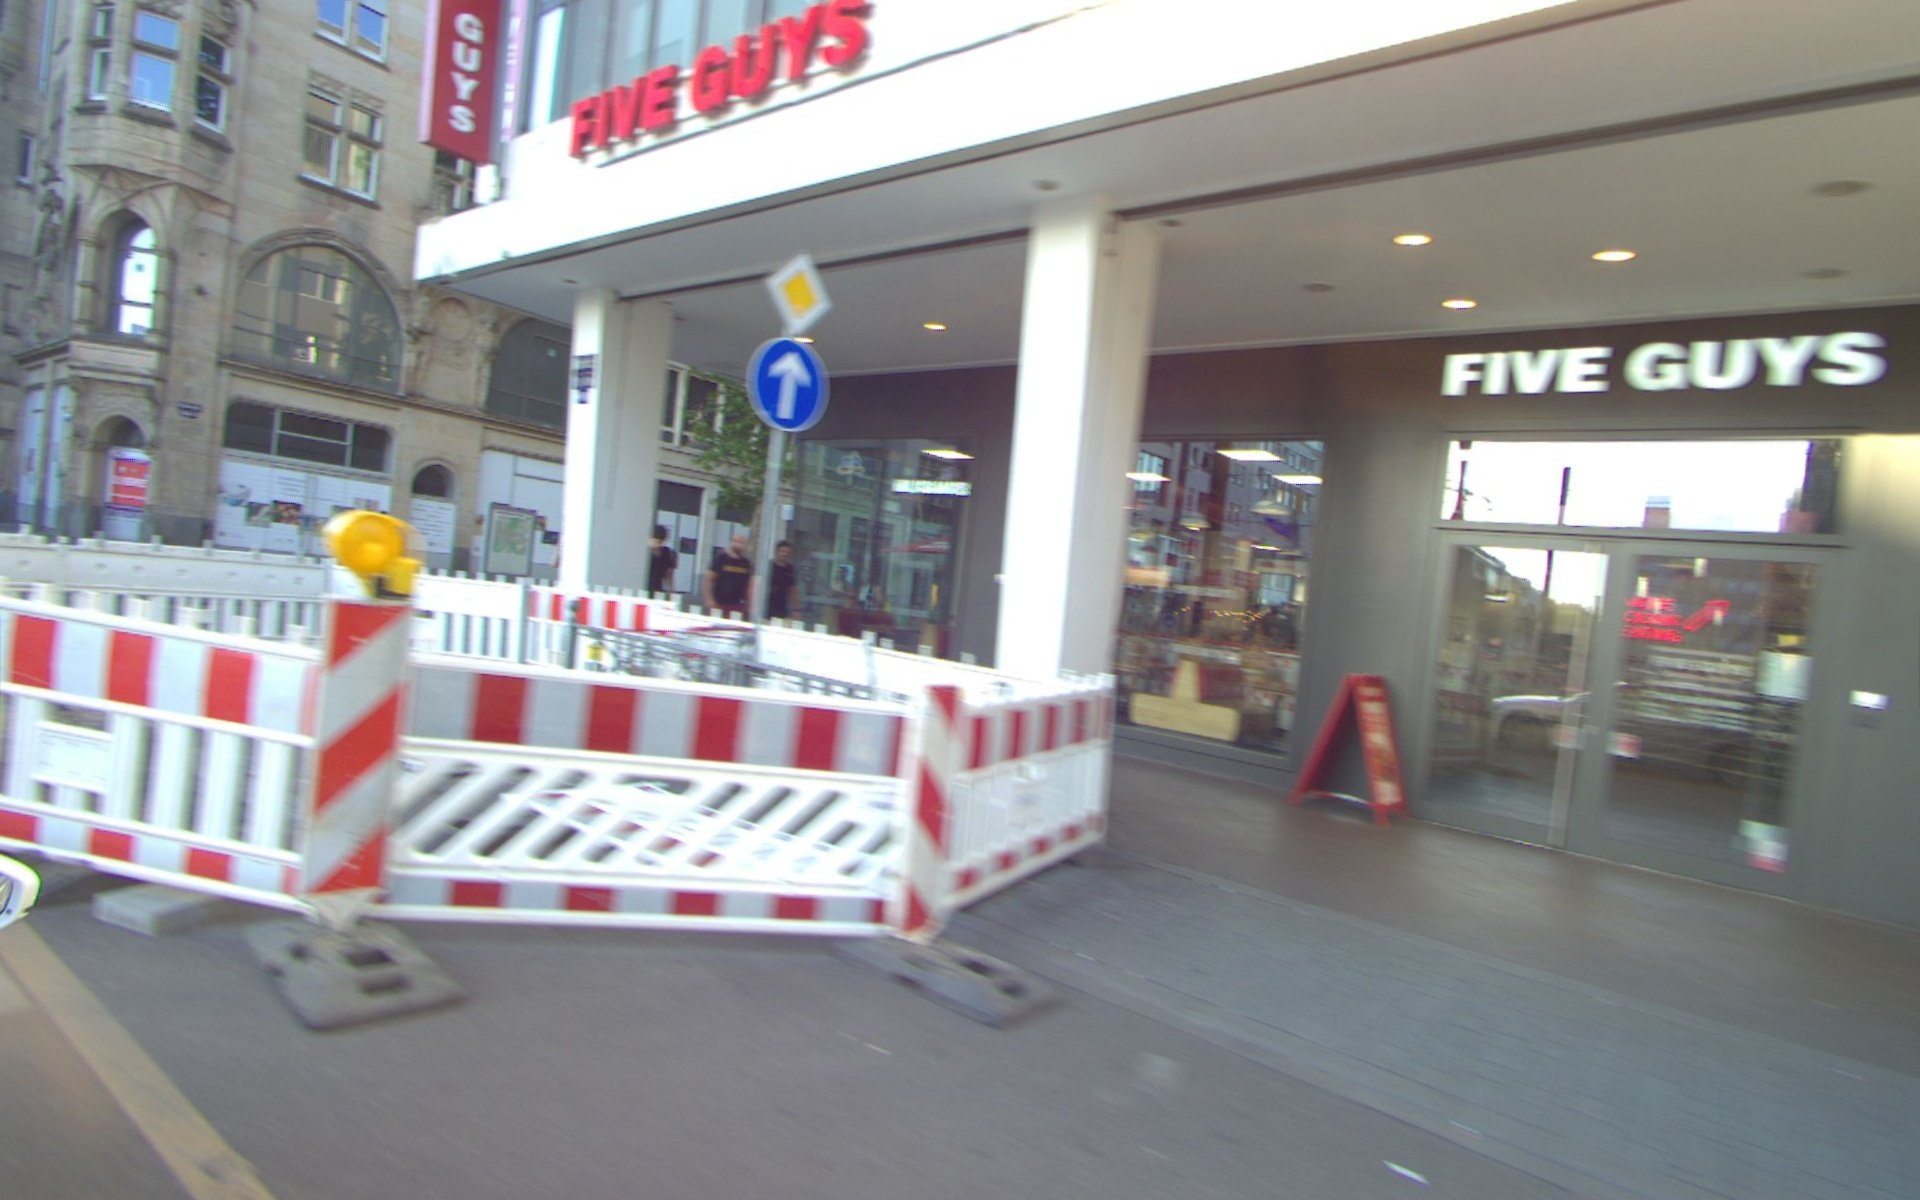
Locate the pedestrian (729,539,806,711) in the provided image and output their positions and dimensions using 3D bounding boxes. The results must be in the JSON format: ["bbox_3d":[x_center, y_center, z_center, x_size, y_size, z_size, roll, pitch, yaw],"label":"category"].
[{"bbox_3d":[-2.387,0.311,12.511,0.696,2.038,0.470,7,0,-11],"label":"pedestrian"}]

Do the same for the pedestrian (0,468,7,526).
[{"bbox_3d":[-28.795,-3.098,29.812,0.616,1.711,0.624,7,2,36],"label":"pedestrian"}]

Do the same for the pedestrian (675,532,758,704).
[{"bbox_3d":[-3.067,0.229,12.717,0.768,2.038,0.516,7,0,-11],"label":"pedestrian"}]

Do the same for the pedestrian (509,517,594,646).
[{"bbox_3d":[-6.002,-0.258,14.804,0.659,1.791,0.723,7,0,25],"label":"pedestrian"}]

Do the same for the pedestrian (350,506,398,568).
[{"bbox_3d":[-16.833,-1.809,28.900,0.702,1.630,0.819,7,0,37],"label":"pedestrian"}]

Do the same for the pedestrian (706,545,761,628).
[{"bbox_3d":[-5.145,-0.309,22.873,0.702,1.756,0.776,7,0,37],"label":"pedestrian"}]

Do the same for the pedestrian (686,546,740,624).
[{"bbox_3d":[-5.723,-0.346,23.291,0.716,1.681,0.776,7,0,37],"label":"pedestrian"}]

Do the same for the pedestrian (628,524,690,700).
[{"bbox_3d":[-3.679,0.142,12.268,0.464,2.038,0.704,7,0,-20],"label":"pedestrian"}]
